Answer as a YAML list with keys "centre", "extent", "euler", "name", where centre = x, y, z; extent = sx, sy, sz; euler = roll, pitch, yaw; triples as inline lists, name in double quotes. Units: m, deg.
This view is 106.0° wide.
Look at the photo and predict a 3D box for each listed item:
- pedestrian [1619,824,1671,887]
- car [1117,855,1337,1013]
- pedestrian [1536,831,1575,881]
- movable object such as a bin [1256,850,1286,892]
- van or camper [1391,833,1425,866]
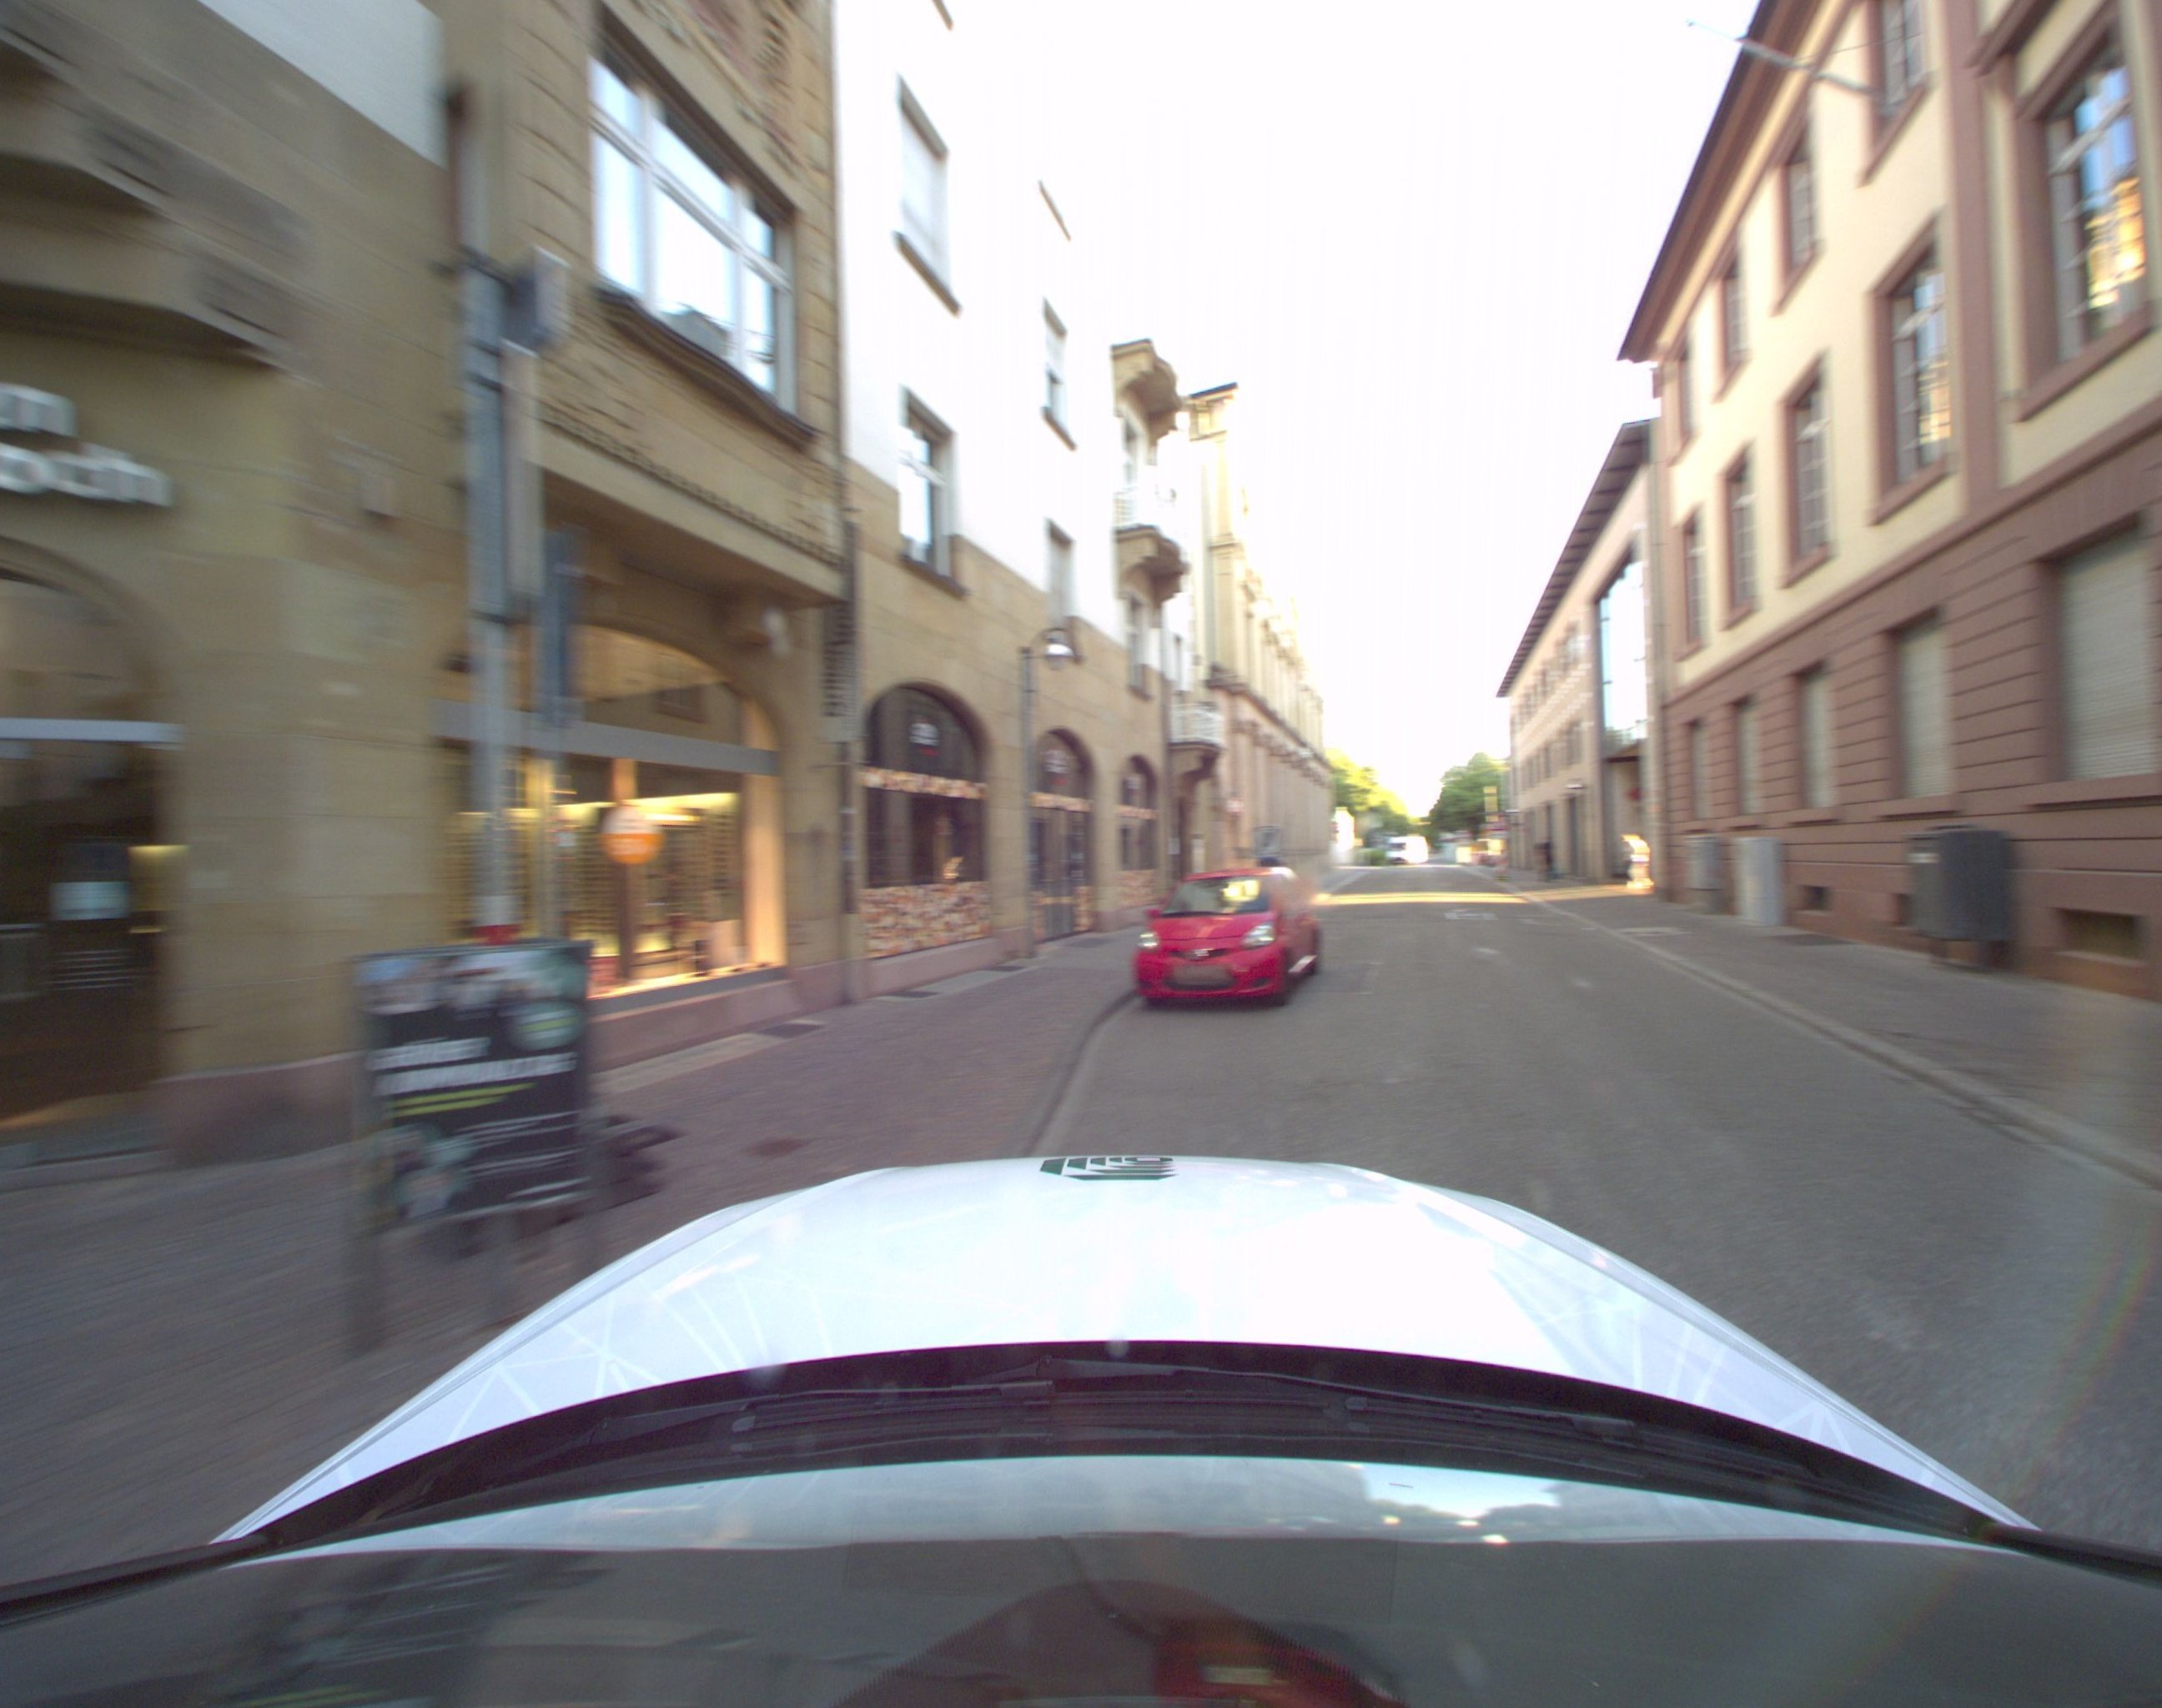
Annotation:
- centre: [16.871, 0.055, 24.379]
  extent: [0.888, 1.803, 0.851]
  euler: [-4, -2, 12]
  name: "pedestrian"
- centre: [1.976, 0.825, 9.936]
  extent: [1.642, 1.470, 3.954]
  euler: [-5, -1, 24]
  name: "car"
- centre: [17.915, 0.080, 30.794]
  extent: [0.992, 1.803, 0.886]
  euler: [-6, -3, 22]
  name: "pedestrian"
- centre: [7.091, 0.628, 30.361]
  extent: [0.821, 1.503, 1.298]
  euler: [-1, 0, 24]
  name: "movable object such as a bin"
- centre: [27.899, -0.406, 69.344]
  extent: [2.199, 2.585, 6.409]
  euler: [-2, 0, 25]
  name: "van or camper"
